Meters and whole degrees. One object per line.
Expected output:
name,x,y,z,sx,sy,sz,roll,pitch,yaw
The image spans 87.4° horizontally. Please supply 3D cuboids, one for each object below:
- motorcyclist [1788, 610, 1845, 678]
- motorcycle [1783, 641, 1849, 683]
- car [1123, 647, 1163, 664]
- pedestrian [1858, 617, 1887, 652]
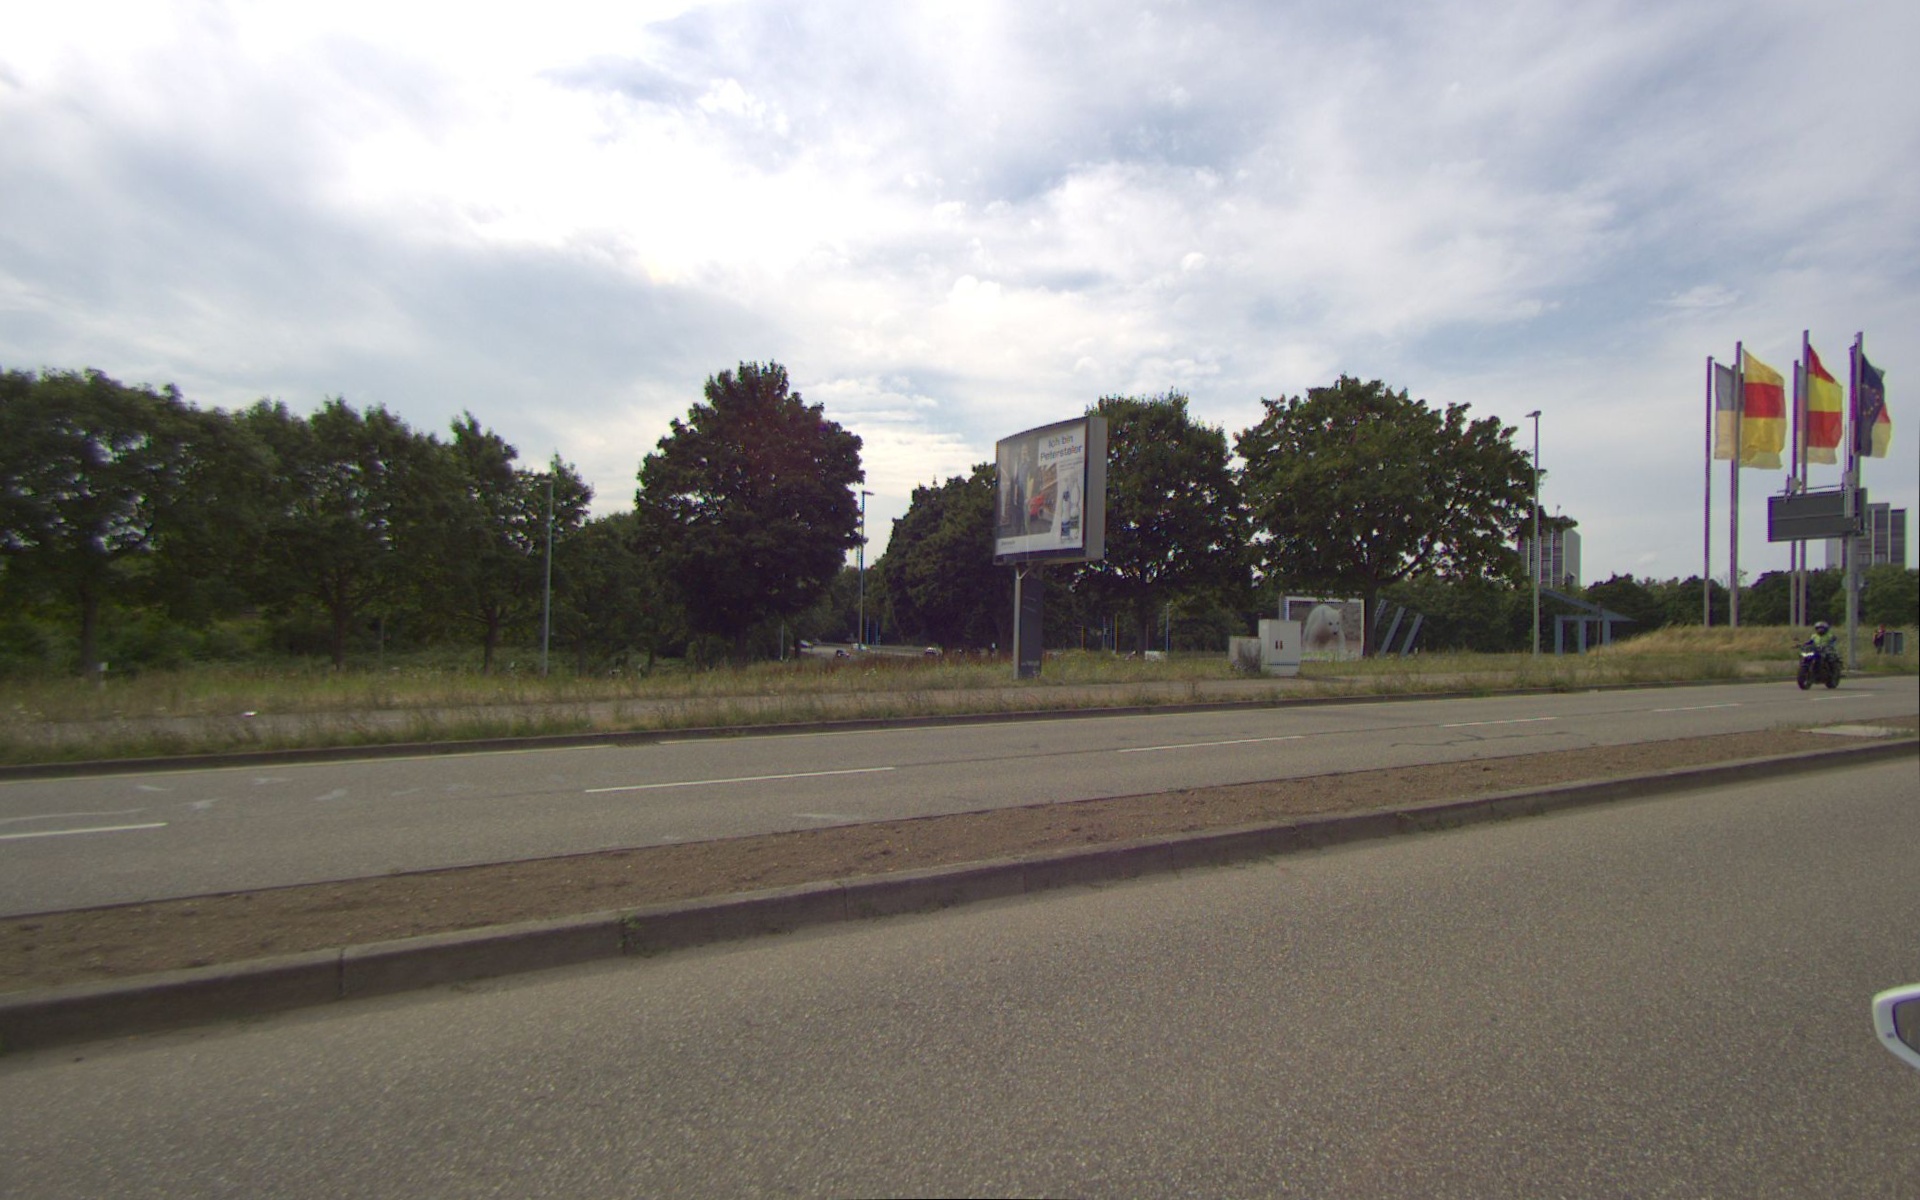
motorcyclist,20.896,1.066,24.511,0.885,1.609,0.766,1,-2,-30
motorcycle,20.873,1.488,24.487,2.193,0.980,0.520,1,-1,-30
car,27.942,8.443,153.293,5.767,2.411,1.981,-1,-2,41
pedestrian,45.388,1.711,49.970,0.671,1.715,0.861,1,-2,-29
